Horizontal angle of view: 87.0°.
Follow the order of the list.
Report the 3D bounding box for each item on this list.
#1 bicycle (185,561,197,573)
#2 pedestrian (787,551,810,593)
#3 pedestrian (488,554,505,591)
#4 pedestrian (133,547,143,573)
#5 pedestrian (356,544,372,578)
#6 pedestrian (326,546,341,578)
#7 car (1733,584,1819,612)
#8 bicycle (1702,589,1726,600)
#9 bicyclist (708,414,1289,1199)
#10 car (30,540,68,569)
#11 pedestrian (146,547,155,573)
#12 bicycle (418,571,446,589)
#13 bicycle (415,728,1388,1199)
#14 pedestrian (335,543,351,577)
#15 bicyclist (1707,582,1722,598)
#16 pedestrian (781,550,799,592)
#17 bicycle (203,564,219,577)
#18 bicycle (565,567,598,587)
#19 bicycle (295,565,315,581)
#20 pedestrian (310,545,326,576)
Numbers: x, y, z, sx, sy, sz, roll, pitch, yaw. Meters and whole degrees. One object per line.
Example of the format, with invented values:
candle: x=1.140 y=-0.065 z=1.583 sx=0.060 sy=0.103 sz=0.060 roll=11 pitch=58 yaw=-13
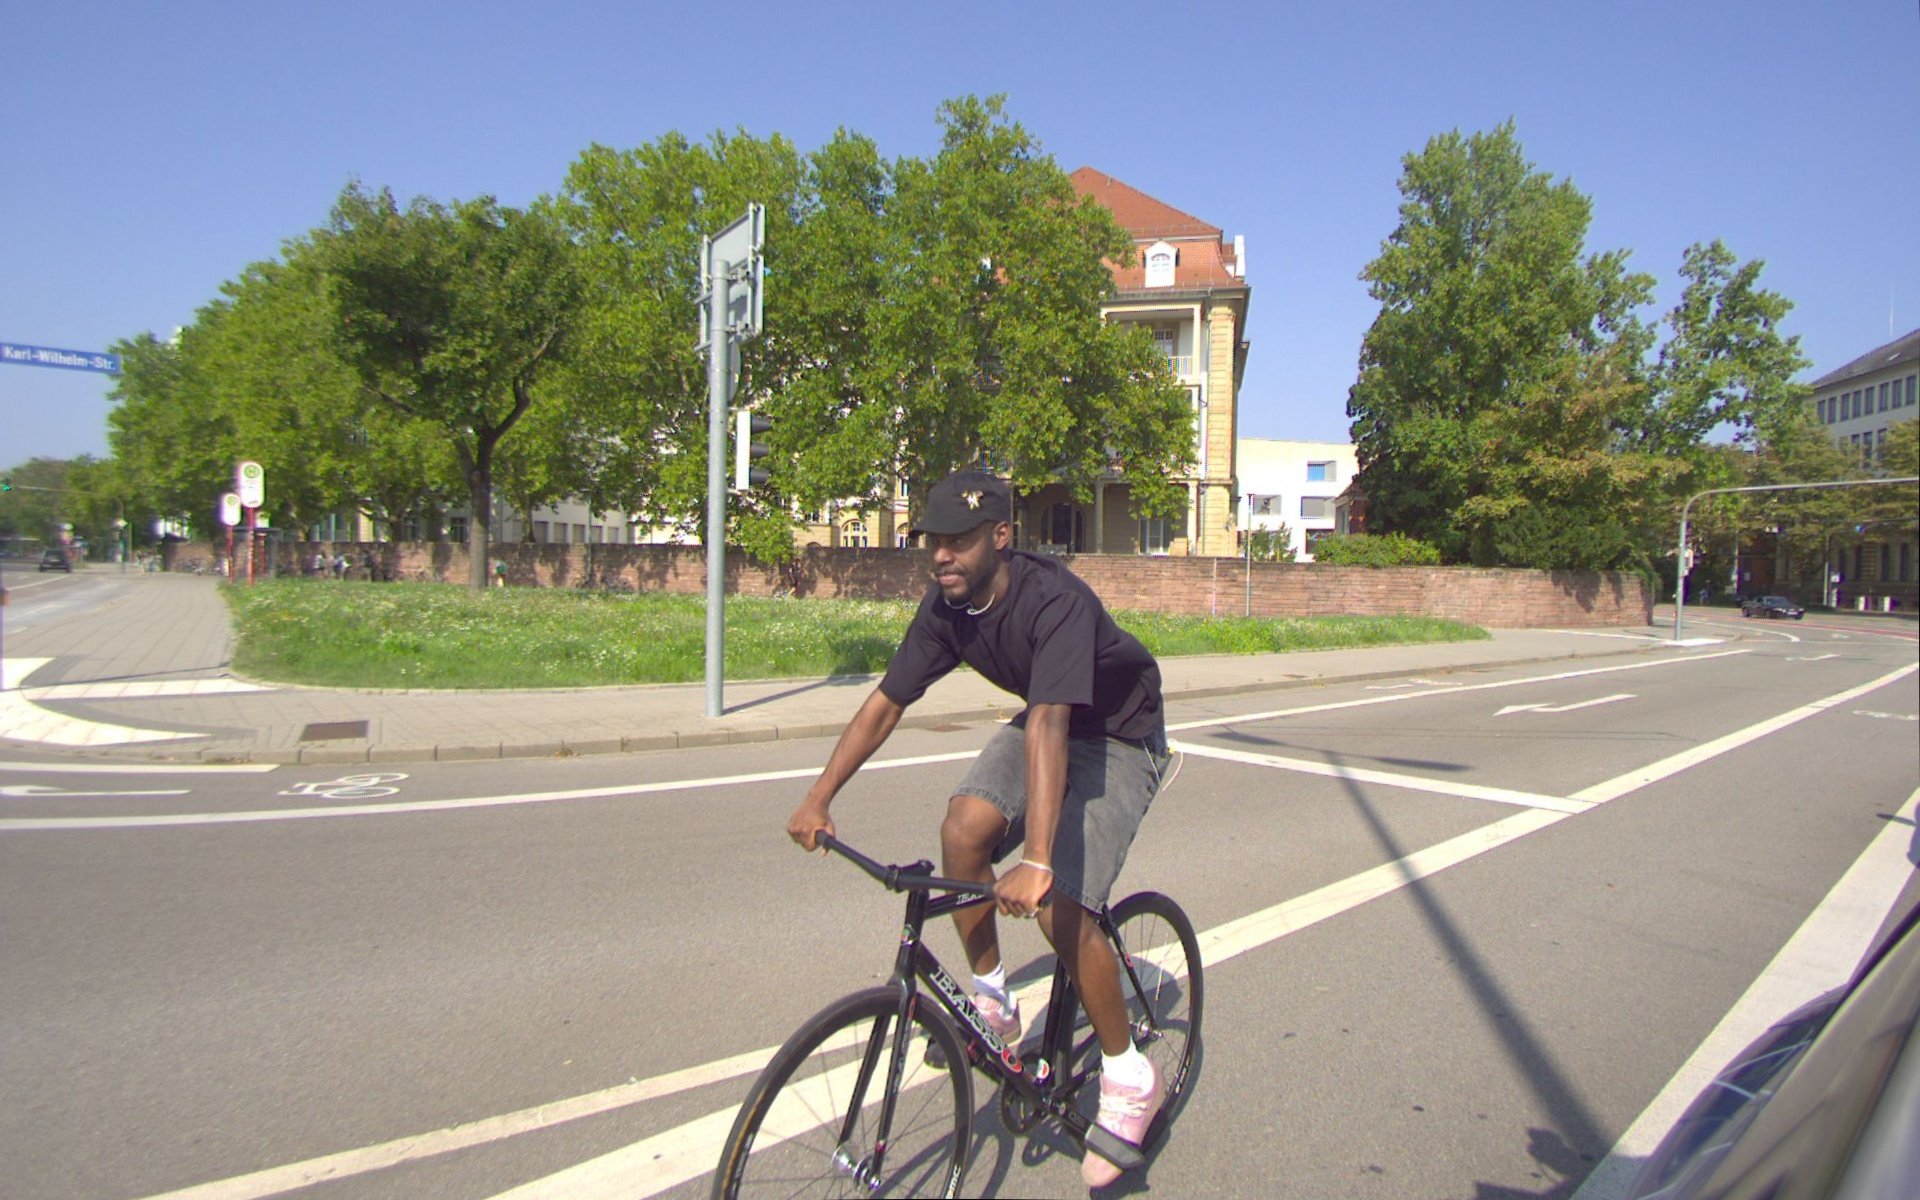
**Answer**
bicycle: x=-54.785 y=-2.359 z=72.085 sx=1.545 sy=0.845 sz=0.427 roll=3 pitch=2 yaw=44
pedestrian: x=-6.573 y=-1.141 z=41.183 sx=0.709 sy=1.704 sz=0.591 roll=1 pitch=1 yaw=18
pedestrian: x=-21.138 y=-1.257 z=46.167 sx=0.589 sy=1.672 sz=0.478 roll=-1 pitch=-1 yaw=28
pedestrian: x=-56.093 y=-2.698 z=69.044 sx=0.477 sy=1.762 sz=0.504 roll=0 pitch=-1 yaw=-42
pedestrian: x=-30.378 y=-1.987 z=51.565 sx=0.590 sy=1.672 sz=0.477 roll=-1 pitch=-1 yaw=32
pedestrian: x=-32.868 y=-1.972 z=53.076 sx=0.590 sy=1.672 sz=0.477 roll=-1 pitch=-1 yaw=32
car: x=49.629 y=-0.119 z=61.687 sx=1.964 sy=1.630 sz=4.242 roll=0 pitch=0 yaw=4
bicycle: x=67.190 y=-0.502 z=90.191 sx=0.654 sy=0.968 sz=2.087 roll=1 pitch=2 yaw=2
bicyclist: x=0.091 y=0.493 z=2.193 sx=0.974 sy=1.598 sz=0.773 roll=0 pitch=2 yaw=-43
car: x=-71.213 y=-3.529 z=79.058 sx=3.985 sy=2.039 sz=1.890 roll=0 pitch=0 yaw=43
pedestrian: x=-55.378 y=-2.704 z=69.239 sx=0.477 sy=1.762 sz=0.504 roll=0 pitch=-1 yaw=-42
bicycle: x=-26.291 y=-1.001 z=50.368 sx=1.535 sy=0.845 sz=0.430 roll=2 pitch=2 yaw=28
bicycle: x=0.075 y=0.924 z=2.211 sx=2.114 sy=0.988 sz=0.773 roll=-1 pitch=2 yaw=-43
pedestrian: x=-30.843 y=-1.980 z=50.588 sx=0.590 sy=1.672 sz=0.514 roll=-1 pitch=-1 yaw=32
bicyclist: x=67.191 y=-0.902 z=90.146 sx=0.654 sy=1.356 sz=0.925 roll=1 pitch=2 yaw=2
pedestrian: x=-6.829 y=-1.143 z=40.668 sx=0.587 sy=1.672 sz=0.480 roll=-1 pitch=0 yaw=19
bicycle: x=-49.458 y=-1.927 z=66.797 sx=1.541 sy=0.845 sz=0.428 roll=3 pitch=2 yaw=37
bicycle: x=-17.136 y=-1.057 z=45.787 sx=1.534 sy=0.845 sz=0.430 roll=2 pitch=2 yaw=25
bicycle: x=-37.055 y=-1.514 z=57.242 sx=1.541 sy=0.845 sz=0.428 roll=3 pitch=2 yaw=36
pedestrian: x=-33.080 y=-2.043 z=52.137 sx=0.498 sy=1.591 sz=0.529 roll=-1 pitch=-1 yaw=30
